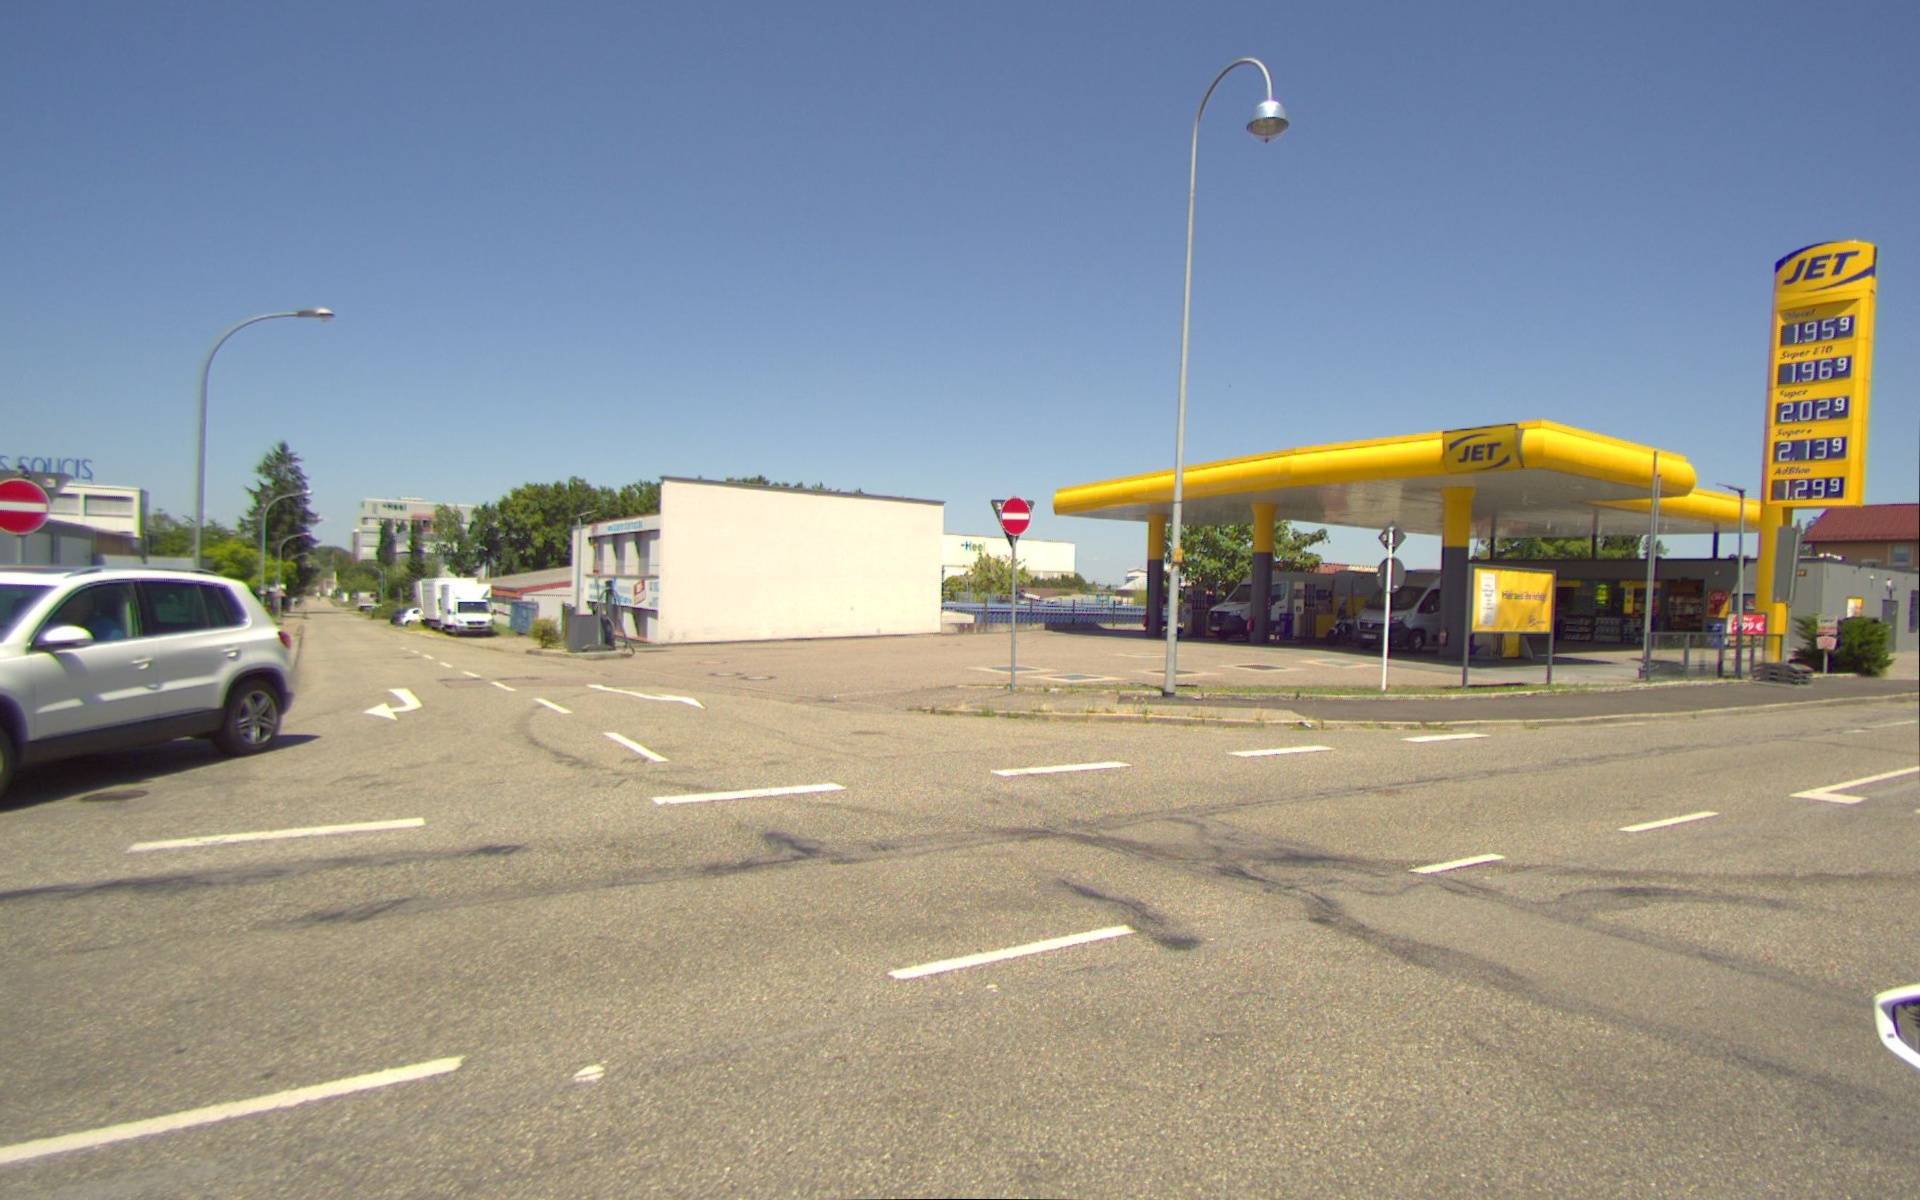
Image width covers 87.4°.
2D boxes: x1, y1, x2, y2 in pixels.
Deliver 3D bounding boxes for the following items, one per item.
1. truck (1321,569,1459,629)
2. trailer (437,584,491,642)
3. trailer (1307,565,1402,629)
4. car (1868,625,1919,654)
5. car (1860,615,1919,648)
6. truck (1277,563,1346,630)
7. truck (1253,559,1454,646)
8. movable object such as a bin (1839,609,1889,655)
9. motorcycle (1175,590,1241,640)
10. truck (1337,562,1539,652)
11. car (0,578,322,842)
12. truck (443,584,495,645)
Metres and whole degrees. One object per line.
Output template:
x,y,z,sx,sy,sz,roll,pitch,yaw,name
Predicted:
26.308,-0.081,61.899,2.135,3.472,7.815,1,0,-36,truck
-31.244,0.753,63.090,2.282,3.455,7.256,1,0,-32,trailer
21.123,-0.160,53.695,5.855,3.263,1.852,0,1,-36,trailer
52.826,2.197,55.536,1.875,1.477,3.636,1,0,-37,car
51.281,1.713,54.292,1.875,1.732,3.636,1,0,-38,car
18.026,-0.185,51.461,3.158,3.286,1.833,0,1,-35,truck
14.532,0.109,37.223,6.619,2.952,2.640,1,0,-15,truck
33.157,1.164,36.856,1.413,1.538,0.946,-1,6,-35,movable object such as a bin
10.456,0.624,42.308,2.754,2.040,0.834,1,0,-24,motorcycle
15.165,0.266,31.744,6.648,2.633,2.224,1,0,-28,truck
-7.113,0.699,7.508,1.936,1.695,4.249,0,0,1,car
-29.324,0.803,59.940,2.283,3.468,4.680,1,0,-32,truck
